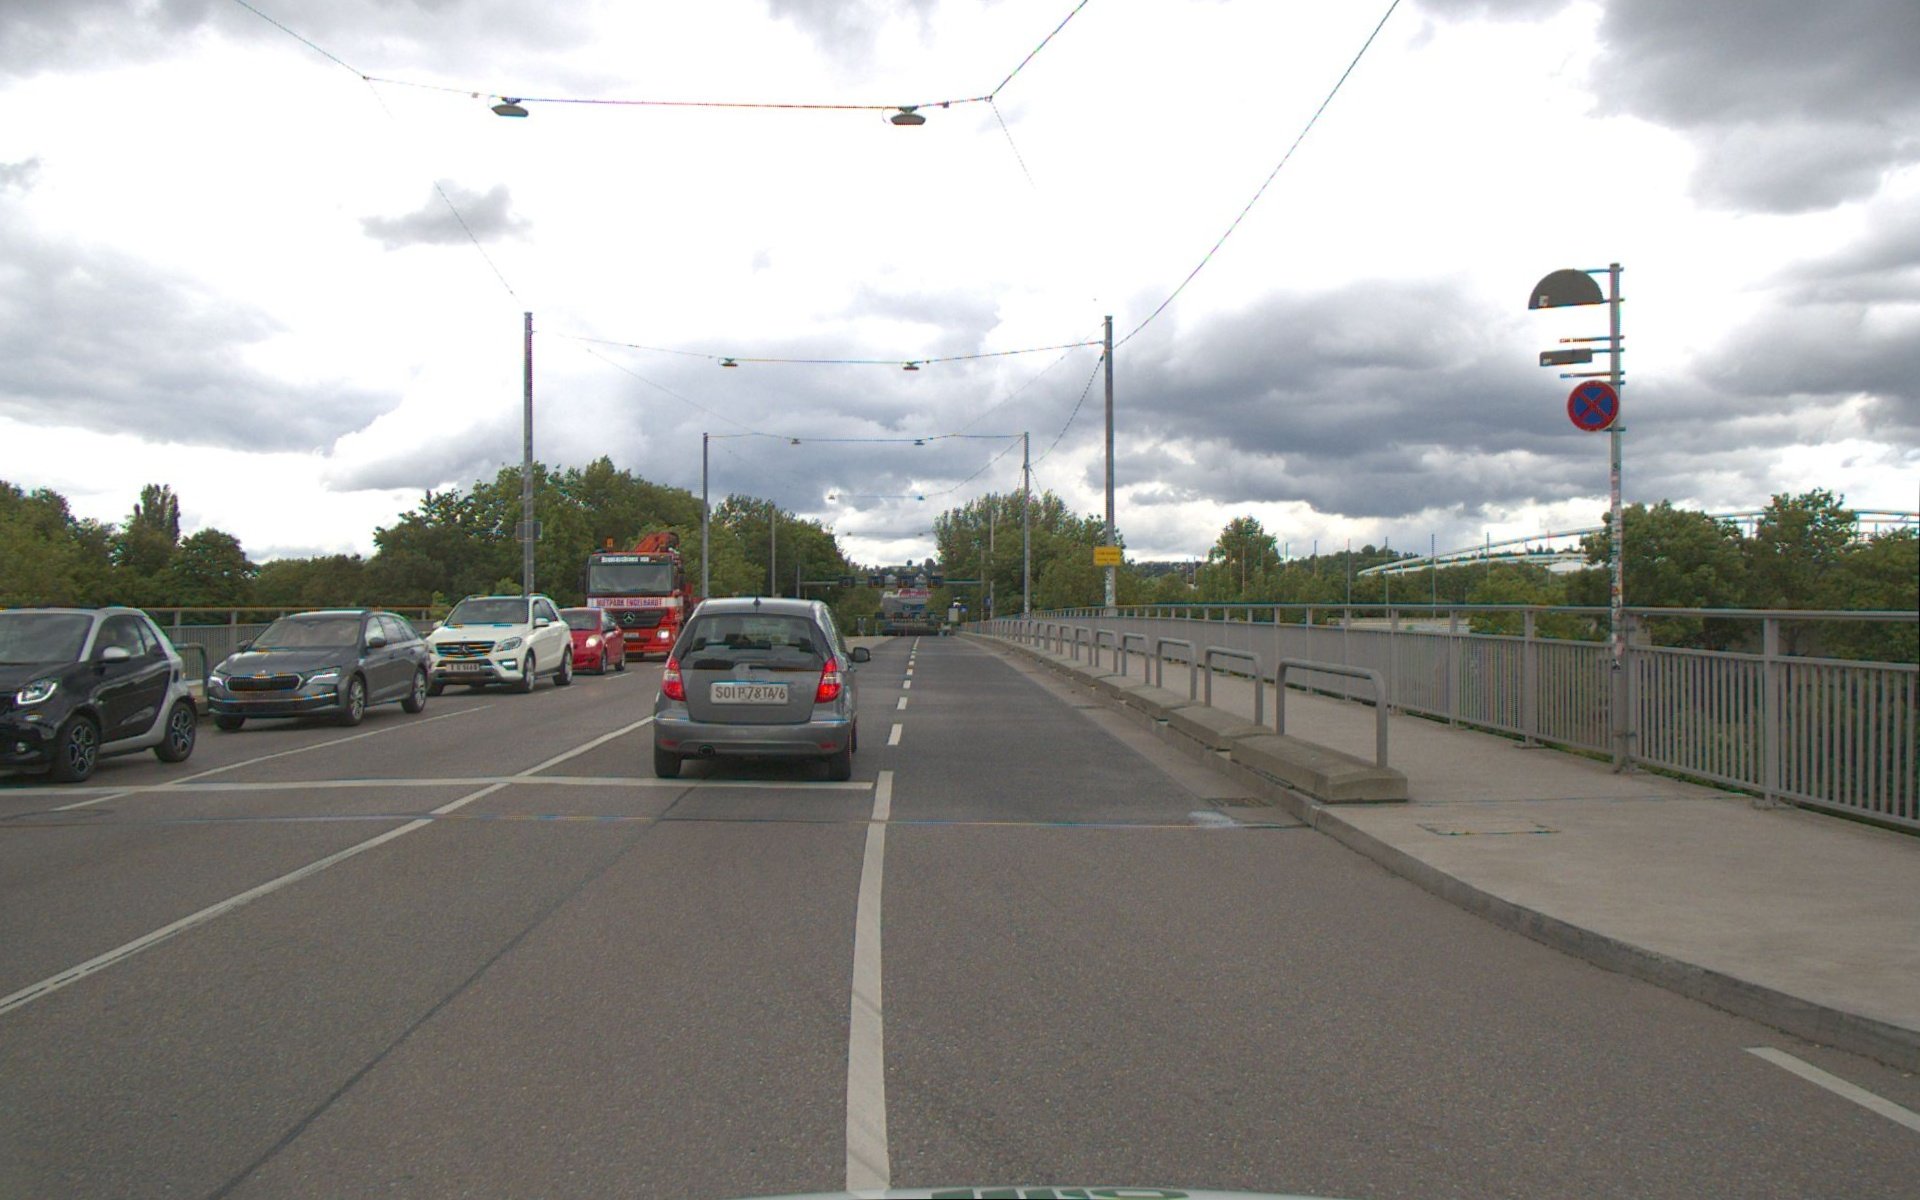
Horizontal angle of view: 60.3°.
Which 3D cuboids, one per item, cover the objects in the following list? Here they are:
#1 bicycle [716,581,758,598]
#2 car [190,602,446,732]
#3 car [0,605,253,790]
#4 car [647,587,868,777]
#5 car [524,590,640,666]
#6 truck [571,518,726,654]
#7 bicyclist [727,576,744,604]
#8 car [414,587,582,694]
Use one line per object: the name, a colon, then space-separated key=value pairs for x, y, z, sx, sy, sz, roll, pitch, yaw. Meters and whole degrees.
bicycle: x=-14.748 y=-0.697 z=109.552 sx=2.737 sy=1.069 sz=0.919 roll=0 pitch=-1 yaw=-7
car: x=-8.549 y=0.814 z=22.476 sx=1.798 sy=1.530 sz=4.515 roll=-1 pitch=0 yaw=-2
car: x=-8.585 y=0.847 z=15.971 sx=1.798 sy=1.530 sz=3.871 roll=-1 pitch=0 yaw=0
car: x=-1.797 y=0.681 z=15.761 sx=1.710 sy=1.577 sz=3.870 roll=1 pitch=0 yaw=-2
car: x=-8.733 y=0.611 z=38.532 sx=1.842 sy=1.631 sz=4.014 roll=-1 pitch=0 yaw=-2
truck: x=-9.156 y=-0.410 z=49.845 sx=2.945 sy=3.628 sz=9.979 roll=-1 pitch=0 yaw=-1
bicyclist: x=-14.857 y=-0.662 z=109.524 sx=1.110 sy=1.795 sz=0.904 roll=0 pitch=-1 yaw=-6
car: x=-8.443 y=0.677 z=30.654 sx=1.842 sy=1.792 sz=4.801 roll=-1 pitch=0 yaw=-2
